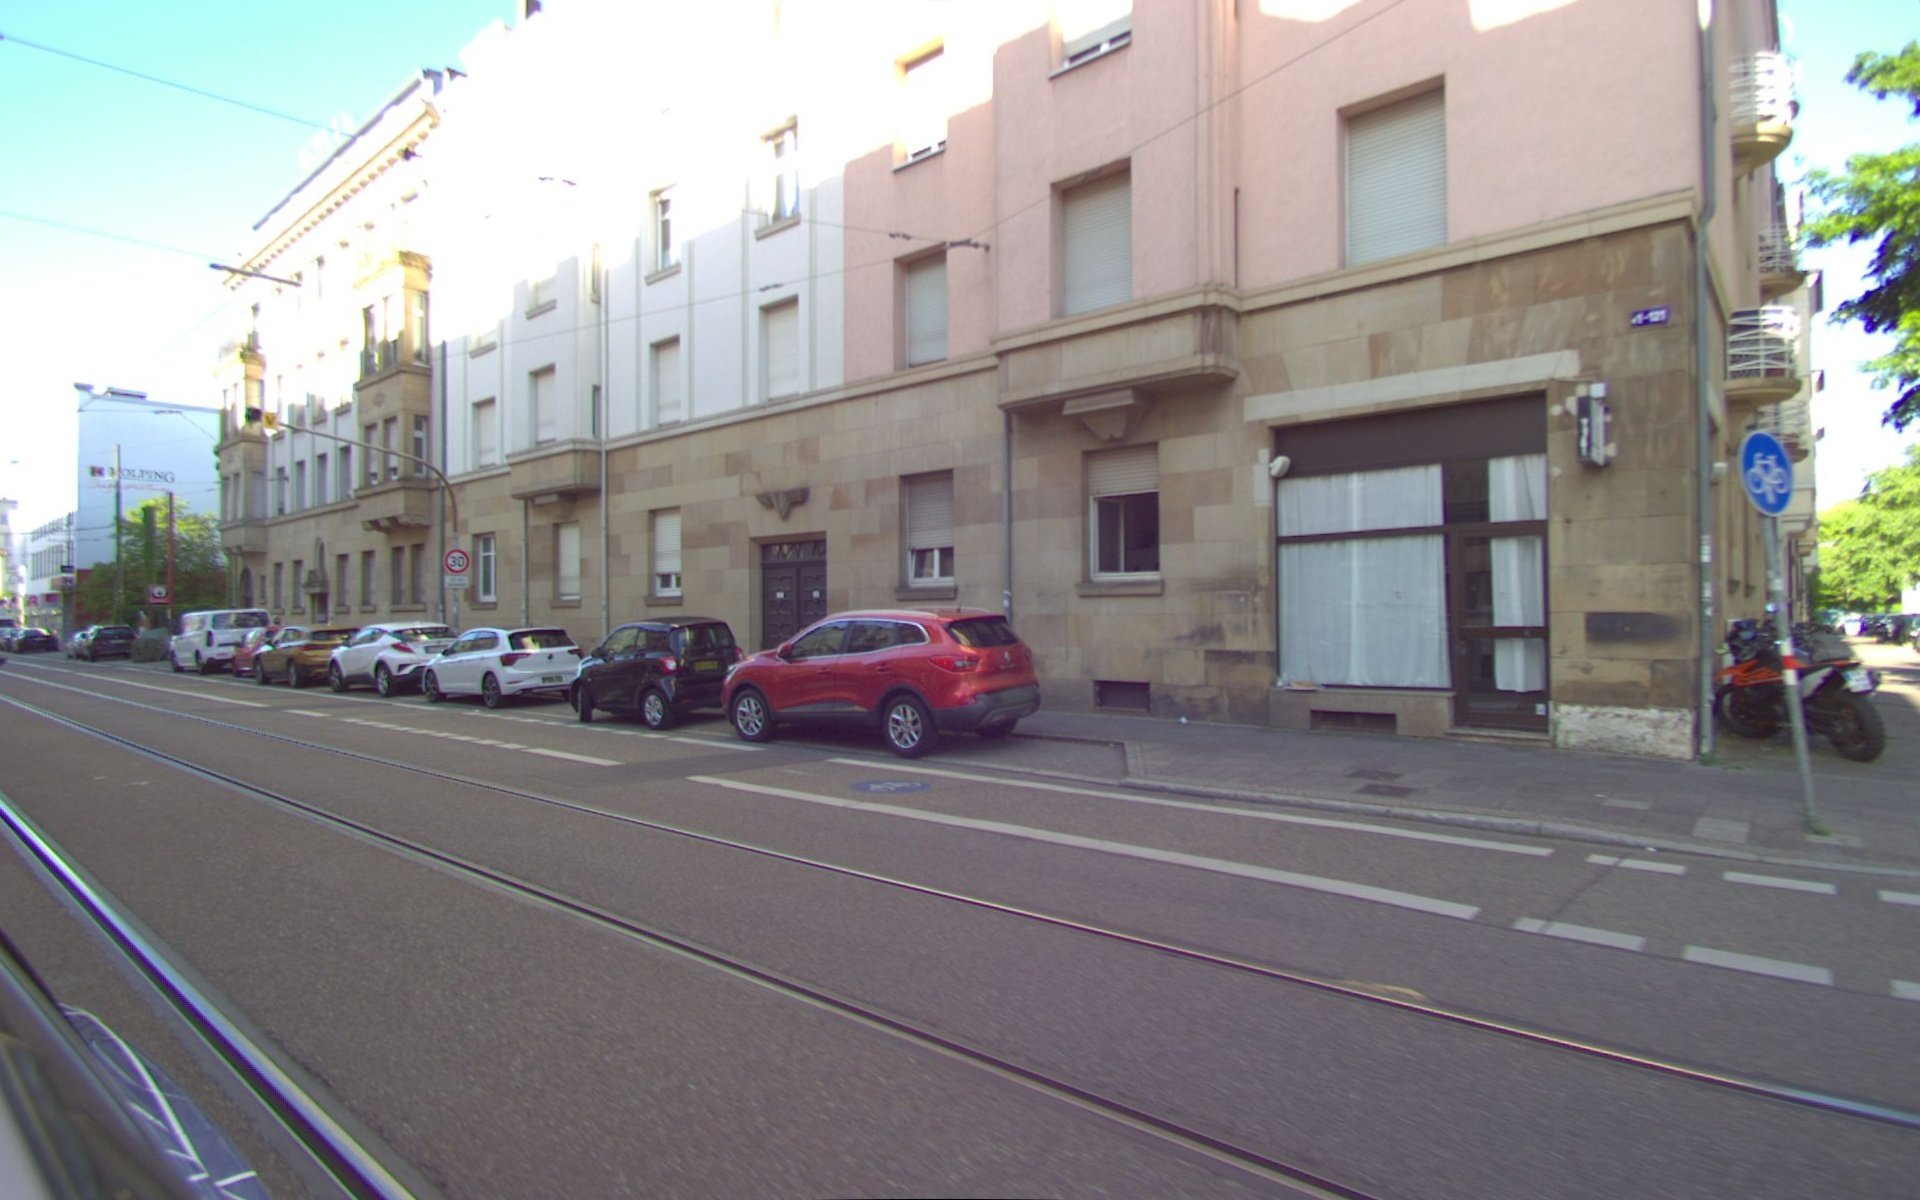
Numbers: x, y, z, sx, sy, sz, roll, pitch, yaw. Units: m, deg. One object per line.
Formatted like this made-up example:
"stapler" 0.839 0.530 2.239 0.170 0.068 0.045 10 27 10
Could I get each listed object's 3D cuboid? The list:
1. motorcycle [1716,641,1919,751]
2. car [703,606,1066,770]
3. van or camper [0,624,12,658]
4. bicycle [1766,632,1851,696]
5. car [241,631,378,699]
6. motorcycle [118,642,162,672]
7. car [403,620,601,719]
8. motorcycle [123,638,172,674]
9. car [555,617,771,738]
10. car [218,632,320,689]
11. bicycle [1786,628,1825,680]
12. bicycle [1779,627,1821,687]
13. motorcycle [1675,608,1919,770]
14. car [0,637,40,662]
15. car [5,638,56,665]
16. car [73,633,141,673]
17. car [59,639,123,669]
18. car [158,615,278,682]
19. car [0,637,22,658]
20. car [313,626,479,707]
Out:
"motorcycle" 9.315 0.985 11.006 0.549 1.043 2.037 -1 -1 -3
"car" -1.051 0.951 12.358 4.393 1.618 1.766 -2 0 39
"van or camper" -72.459 3.080 75.269 6.228 2.486 2.149 -2 0 41
"bicycle" 13.373 0.997 15.923 2.439 0.940 0.615 3 -4 -40
"car" -16.794 1.617 26.042 4.357 1.535 1.765 -2 0 40
"motorcycle" -34.062 2.353 42.063 0.729 1.180 2.187 -1 -1 -19
"car" -8.842 1.264 19.384 4.175 1.634 1.766 -2 0 39
"motorcycle" -32.677 2.222 40.746 0.871 1.361 1.963 -1 -1 -16
"car" -4.514 1.093 15.278 3.018 1.564 1.765 -2 0 41
"car" -20.100 1.723 29.387 3.644 1.484 1.586 -2 0 41
"bicycle" 18.971 1.207 22.709 0.614 1.095 2.444 -2 -3 40
"bicycle" 17.192 1.161 20.701 0.614 1.172 2.444 -2 -4 40
"motorcycle" 8.475 0.814 10.067 0.934 1.429 2.032 0 -1 -19
"car" -60.349 3.127 64.654 4.697 1.492 1.765 -2 0 41
"car" -55.805 3.078 60.716 4.840 1.456 1.764 -2 0 42
"car" -37.741 2.303 44.743 4.611 1.577 1.764 -2 0 43
"car" -41.961 2.573 48.830 4.219 1.324 1.765 -2 0 41
"car" -24.071 1.530 32.752 5.248 1.963 1.953 -2 0 40
"car" -67.032 3.333 70.733 4.444 1.409 1.764 -2 0 43
"car" -12.654 1.425 22.601 4.361 1.558 1.754 -2 0 39
